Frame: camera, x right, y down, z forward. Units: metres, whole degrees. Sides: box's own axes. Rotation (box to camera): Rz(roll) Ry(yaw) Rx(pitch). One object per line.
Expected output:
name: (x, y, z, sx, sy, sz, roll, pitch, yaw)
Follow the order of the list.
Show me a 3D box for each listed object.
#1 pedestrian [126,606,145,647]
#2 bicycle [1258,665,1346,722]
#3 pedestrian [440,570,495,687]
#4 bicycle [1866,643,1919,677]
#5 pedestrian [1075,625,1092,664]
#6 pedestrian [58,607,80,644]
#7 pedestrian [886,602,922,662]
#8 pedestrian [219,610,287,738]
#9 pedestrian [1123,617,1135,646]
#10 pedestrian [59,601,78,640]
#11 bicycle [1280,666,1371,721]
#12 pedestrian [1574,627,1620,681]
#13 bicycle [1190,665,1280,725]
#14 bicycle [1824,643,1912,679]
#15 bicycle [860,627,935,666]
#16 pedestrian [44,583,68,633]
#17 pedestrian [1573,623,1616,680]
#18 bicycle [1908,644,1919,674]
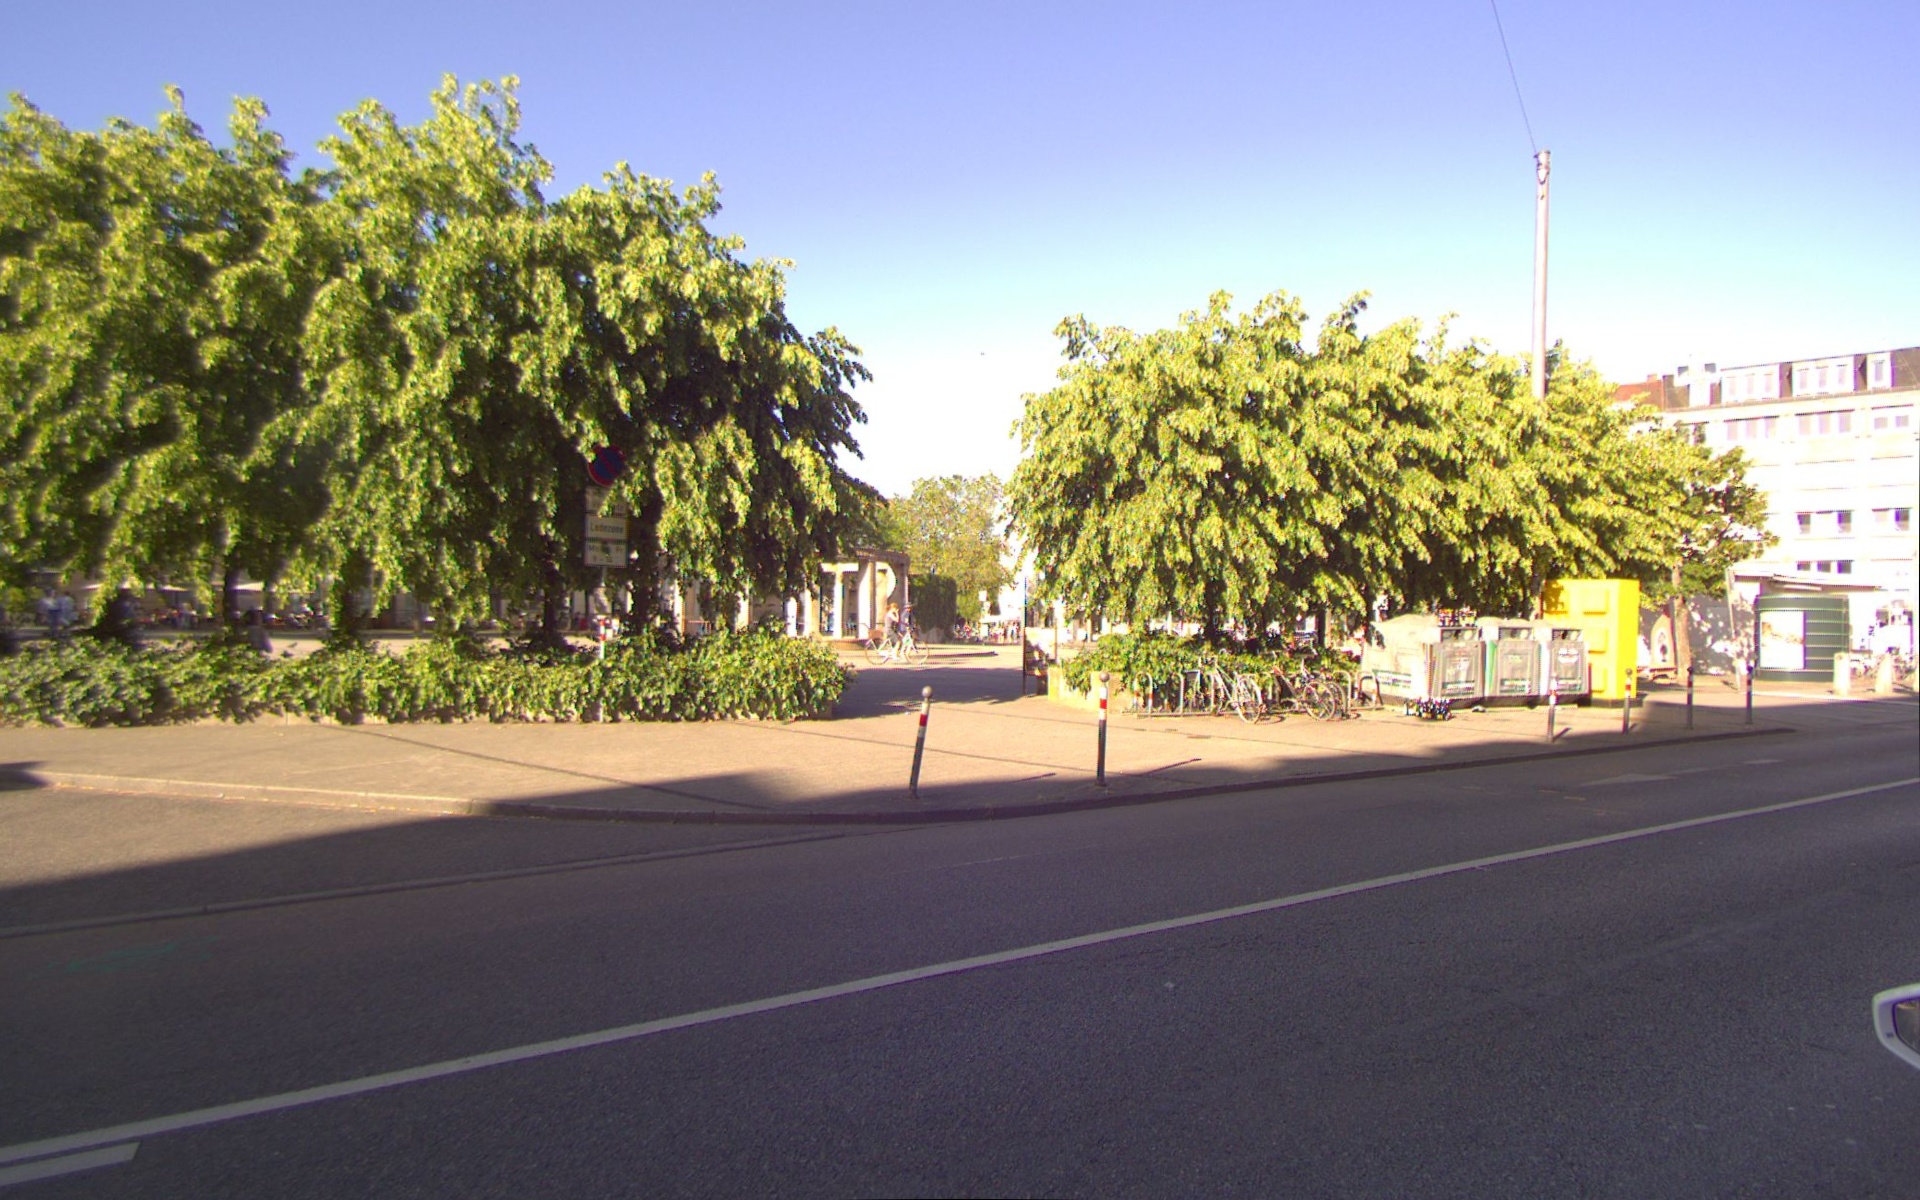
pedestrian: (-37.659, 1.208, 45.866, 0.579, 1.816, 0.593, 2, 0, -44)
bicycle: (5.475, 1.481, 16.155, 0.435, 0.779, 1.469, 2, 0, -25)
pedestrian: (-8.117, 0.461, 16.559, 0.574, 1.881, 0.598, 1, 0, 41)
bicycle: (33.166, 2.112, 35.137, 0.796, 1.119, 2.072, 1, -1, -30)
pedestrian: (6.550, 2.334, 53.332, 0.670, 2.040, 0.579, 2, 0, -23)
pedestrian: (-44.516, 1.267, 50.185, 0.571, 1.816, 0.601, 1, 0, 19)
pedestrian: (-1.687, 0.948, 30.268, 0.918, 1.775, 0.728, 2, 0, -15)
pedestrian: (-10.721, 1.100, 15.252, 0.722, 1.881, 0.578, 2, 0, -28)
pedestrian: (11.057, 2.055, 65.782, 0.591, 1.816, 0.581, 1, 0, -12)
pedestrian: (-41.919, 0.978, 47.237, 0.597, 1.816, 0.575, 2, 0, -44)
bicycle: (5.960, 1.507, 16.426, 0.468, 0.779, 1.468, 2, 0, -27)
pedestrian: (20.215, 1.700, 31.871, 0.727, 1.658, 0.983, 1, 0, -26)
bicycle: (4.229, 1.448, 15.554, 0.467, 0.779, 1.653, 2, 0, -20)
bicycle: (30.861, 2.065, 34.163, 0.796, 1.119, 2.072, 1, -1, -30)
bicycle: (-1.731, 1.285, 27.948, 2.020, 1.030, 0.503, 2, 0, -3)
pedestrian: (-33.448, 0.298, 37.175, 0.597, 1.816, 0.576, 2, 0, -40)
pedestrian: (20.122, 1.624, 31.854, 0.734, 1.748, 0.898, 1, 0, -26)
bicycle: (37.129, 2.246, 37.716, 0.796, 1.119, 2.072, 1, -1, -30)
